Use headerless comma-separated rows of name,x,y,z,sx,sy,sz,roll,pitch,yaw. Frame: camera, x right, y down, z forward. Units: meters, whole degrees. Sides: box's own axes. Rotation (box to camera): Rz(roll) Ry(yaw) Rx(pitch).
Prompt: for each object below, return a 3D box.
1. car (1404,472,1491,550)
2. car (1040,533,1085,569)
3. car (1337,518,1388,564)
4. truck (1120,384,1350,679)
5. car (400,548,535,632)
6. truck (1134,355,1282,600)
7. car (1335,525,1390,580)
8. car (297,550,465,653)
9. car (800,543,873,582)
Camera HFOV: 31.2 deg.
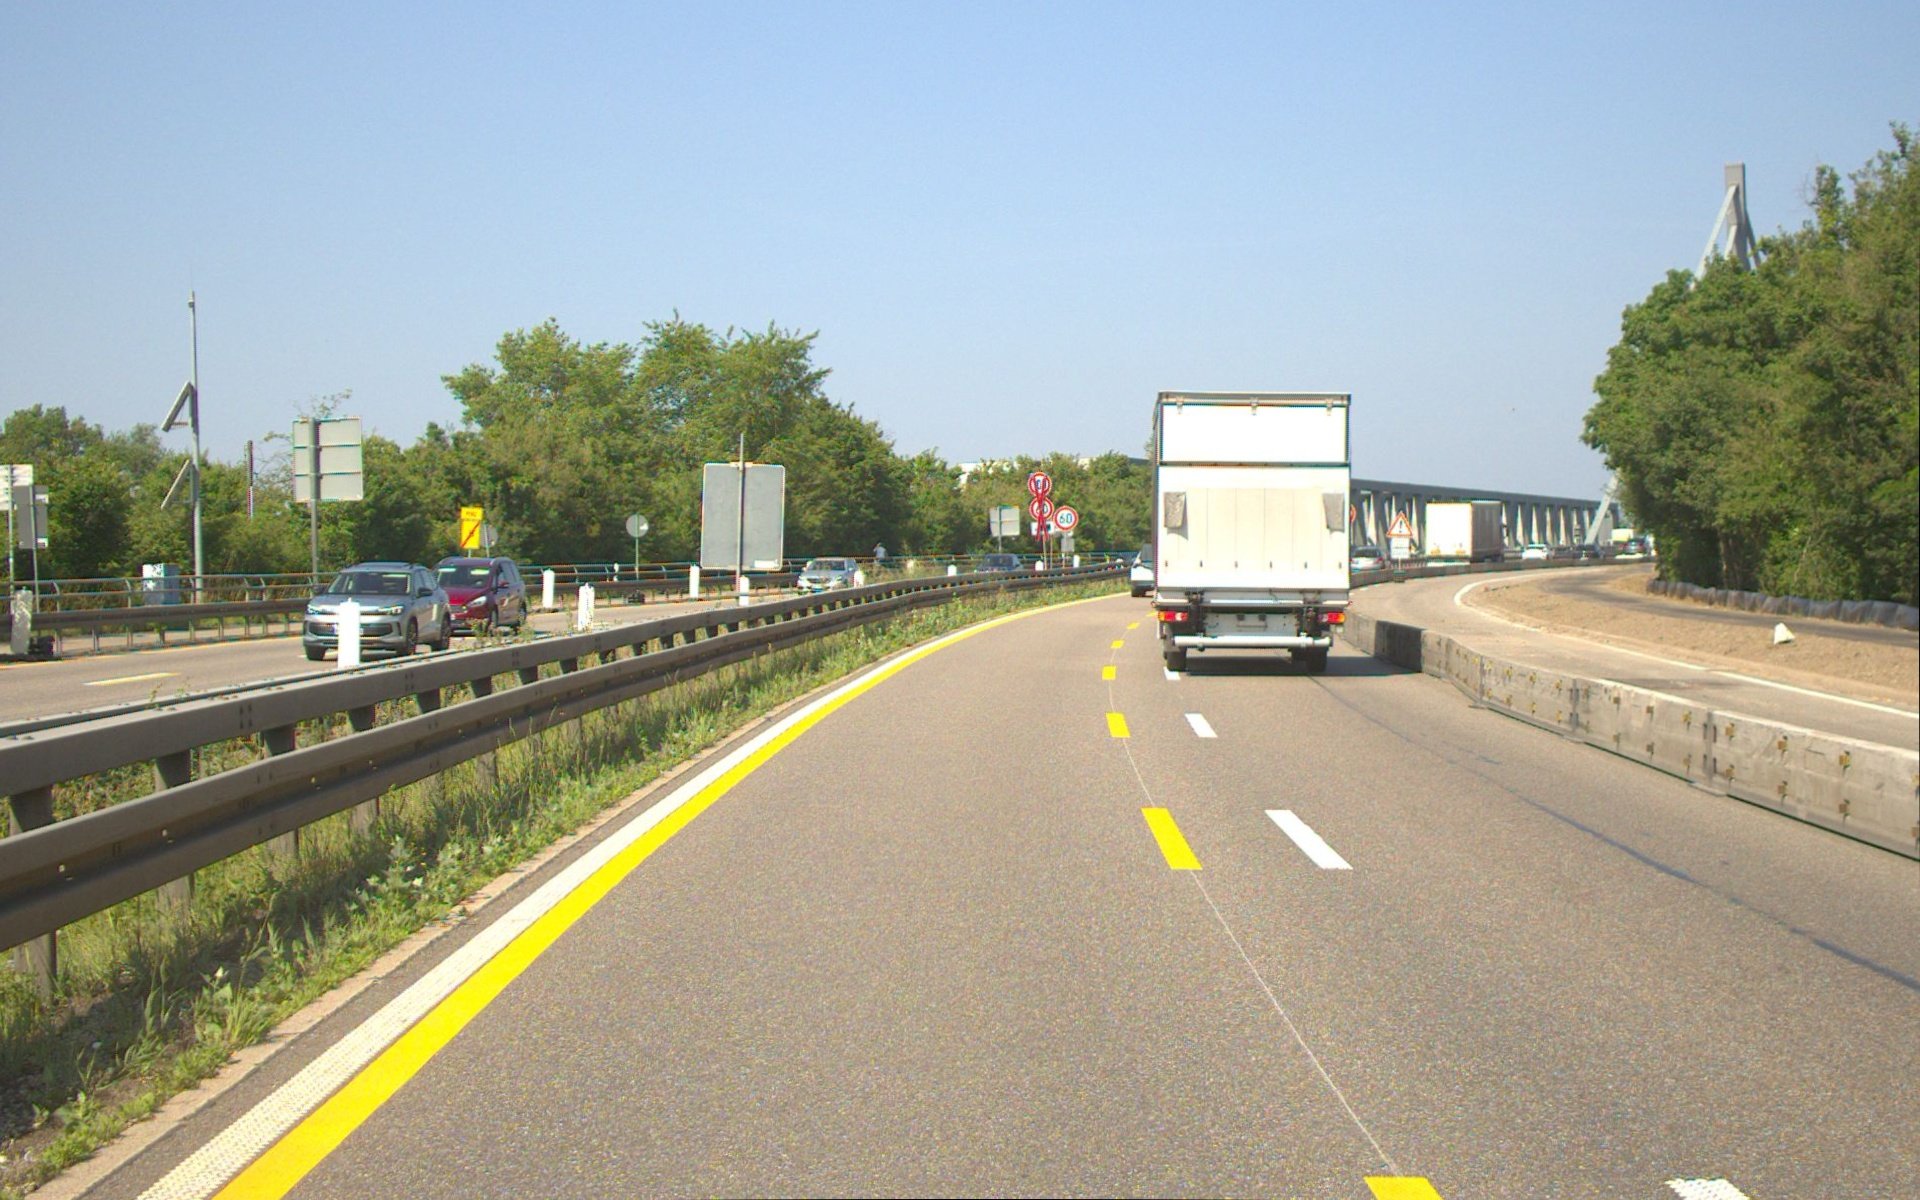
car,28.173,-5.171,198.177,4.209,4.237,10.657,-2,1,12
car,4.470,-2.148,149.311,1.738,1.493,3.999,-1,1,5
car,18.592,-2.748,158.703,1.994,2.007,3.999,-2,1,11
truck,3.589,-0.885,44.010,2.635,3.416,7.232,1,1,6
car,-10.944,-0.253,76.723,1.909,1.728,5.020,-1,1,4
truck,4.841,-2.335,66.730,2.635,4.453,7.232,1,1,5
car,15.755,-1.868,134.672,1.994,2.007,3.999,-2,1,6
car,-10.141,-0.005,60.550,1.909,1.645,4.376,-1,1,4
car,-4.716,-1.435,131.586,1.885,1.415,4.858,-1,1,9
